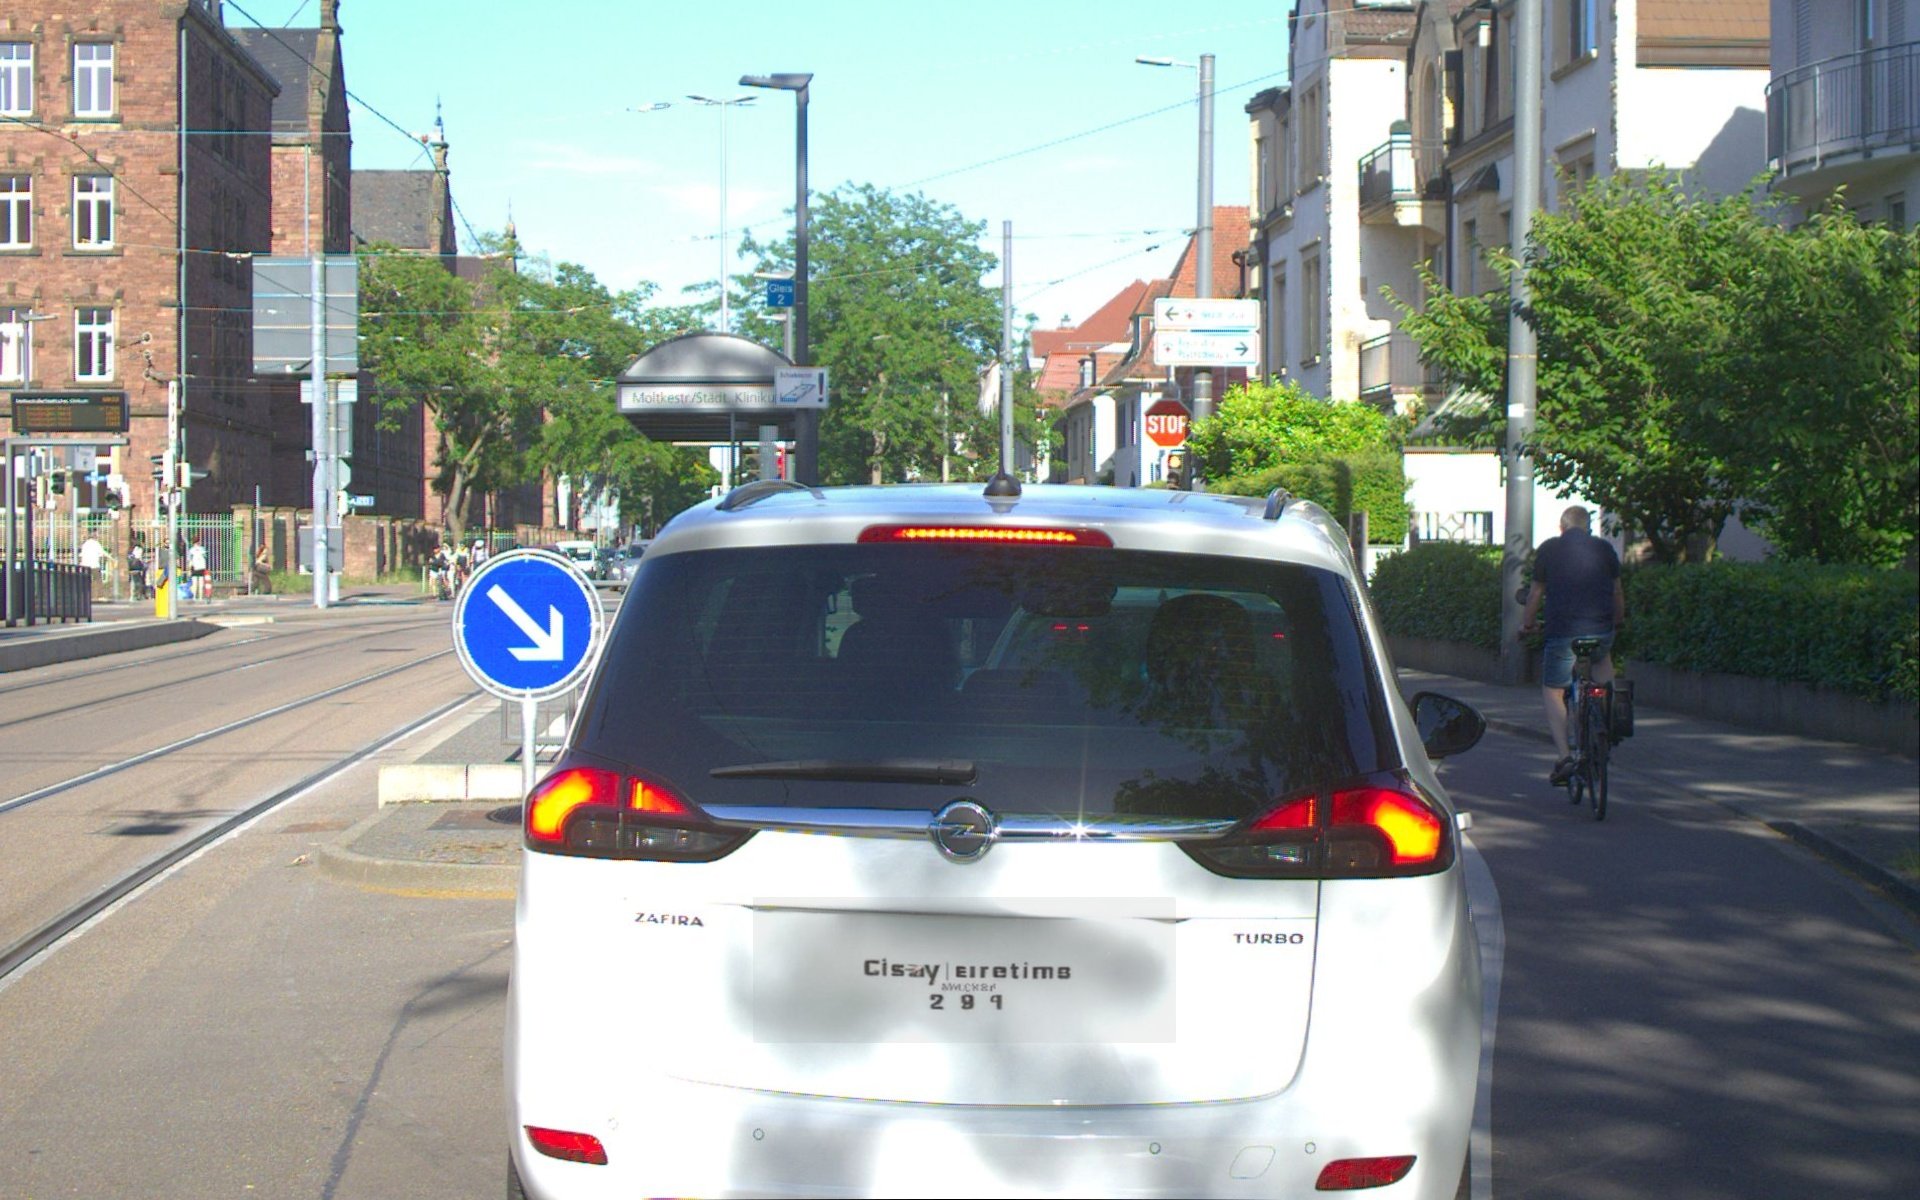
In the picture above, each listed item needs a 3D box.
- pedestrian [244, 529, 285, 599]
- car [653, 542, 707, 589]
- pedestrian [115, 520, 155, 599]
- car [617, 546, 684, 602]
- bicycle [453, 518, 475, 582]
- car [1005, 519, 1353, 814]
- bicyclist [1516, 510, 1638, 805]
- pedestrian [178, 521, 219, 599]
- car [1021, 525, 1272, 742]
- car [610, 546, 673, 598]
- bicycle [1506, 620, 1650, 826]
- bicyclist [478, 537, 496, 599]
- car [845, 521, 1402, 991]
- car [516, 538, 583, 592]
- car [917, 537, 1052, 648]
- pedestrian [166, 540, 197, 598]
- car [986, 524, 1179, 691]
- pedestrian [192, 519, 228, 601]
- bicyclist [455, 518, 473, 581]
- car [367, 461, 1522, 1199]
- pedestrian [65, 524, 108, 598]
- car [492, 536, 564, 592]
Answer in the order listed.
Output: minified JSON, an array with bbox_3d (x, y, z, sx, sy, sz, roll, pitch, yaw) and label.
[{"bbox_3d":[-19.110,-0.995,94.494,0.808,1.894,0.743,1,0,18],"label":"pedestrian"},{"bbox_3d":[-10.493,-1.293,129.070,1.746,1.710,4.000,1,1,-1],"label":"car"},{"bbox_3d":[-21.201,-1.042,88.346,0.795,2.007,0.720,1,0,-34],"label":"pedestrian"},{"bbox_3d":[-9.643,-0.817,107.362,1.746,1.710,4.000,1,1,-1],"label":"car"},{"bbox_3d":[-15.716,-1.599,108.955,0.487,2.007,1.405,0,1,0],"label":"bicycle"},{"bbox_3d":[1.431,0.330,20.998,1.907,1.619,3.999,0,1,7],"label":"car"},{"bbox_3d":[3.578,0.321,19.981,0.616,1.681,0.779,0,1,5],"label":"bicyclist"},{"bbox_3d":[-19.714,-1.027,88.969,0.795,2.007,0.720,1,0,-37],"label":"pedestrian"},{"bbox_3d":[1.567,0.217,28.275,1.907,1.656,4.000,0,1,4],"label":"car"},{"bbox_3d":[-10.655,-0.947,115.219,1.746,1.710,4.000,1,1,-1],"label":"car"},{"bbox_3d":[3.578,0.687,20.023,0.624,1.093,1.973,0,1,5],"label":"bicycle"},{"bbox_3d":[-15.393,-1.055,111.928,0.488,2.007,0.502,1,0,-1],"label":"bicyclist"},{"bbox_3d":[0.783,0.492,13.776,1.907,1.592,3.999,0,1,7],"label":"car"},{"bbox_3d":[-13.557,-1.153,113.713,1.746,1.710,4.000,1,1,-1],"label":"car"},{"bbox_3d":[0.338,-0.148,53.090,1.907,1.656,4.001,0,1,-2],"label":"car"},{"bbox_3d":[-21.592,-0.859,95.321,0.654,1.606,0.711,1,0,2],"label":"pedestrian"},{"bbox_3d":[1.243,0.037,36.112,1.907,1.656,4.000,0,1,1],"label":"car"},{"bbox_3d":[-18.530,-0.998,84.975,0.794,2.007,0.721,1,0,-17],"label":"pedestrian"},{"bbox_3d":[-15.716,-1.599,108.983,0.498,2.007,0.572,0,1,-1],"label":"bicyclist"},{"bbox_3d":[0.187,0.565,7.630,1.907,1.656,3.999,0,1,7],"label":"car"},{"bbox_3d":[-22.625,-1.018,89.020,0.808,1.894,0.743,1,0,14],"label":"pedestrian"},{"bbox_3d":[-13.430,-1.118,107.045,1.746,1.710,4.000,1,1,-1],"label":"car"}]
